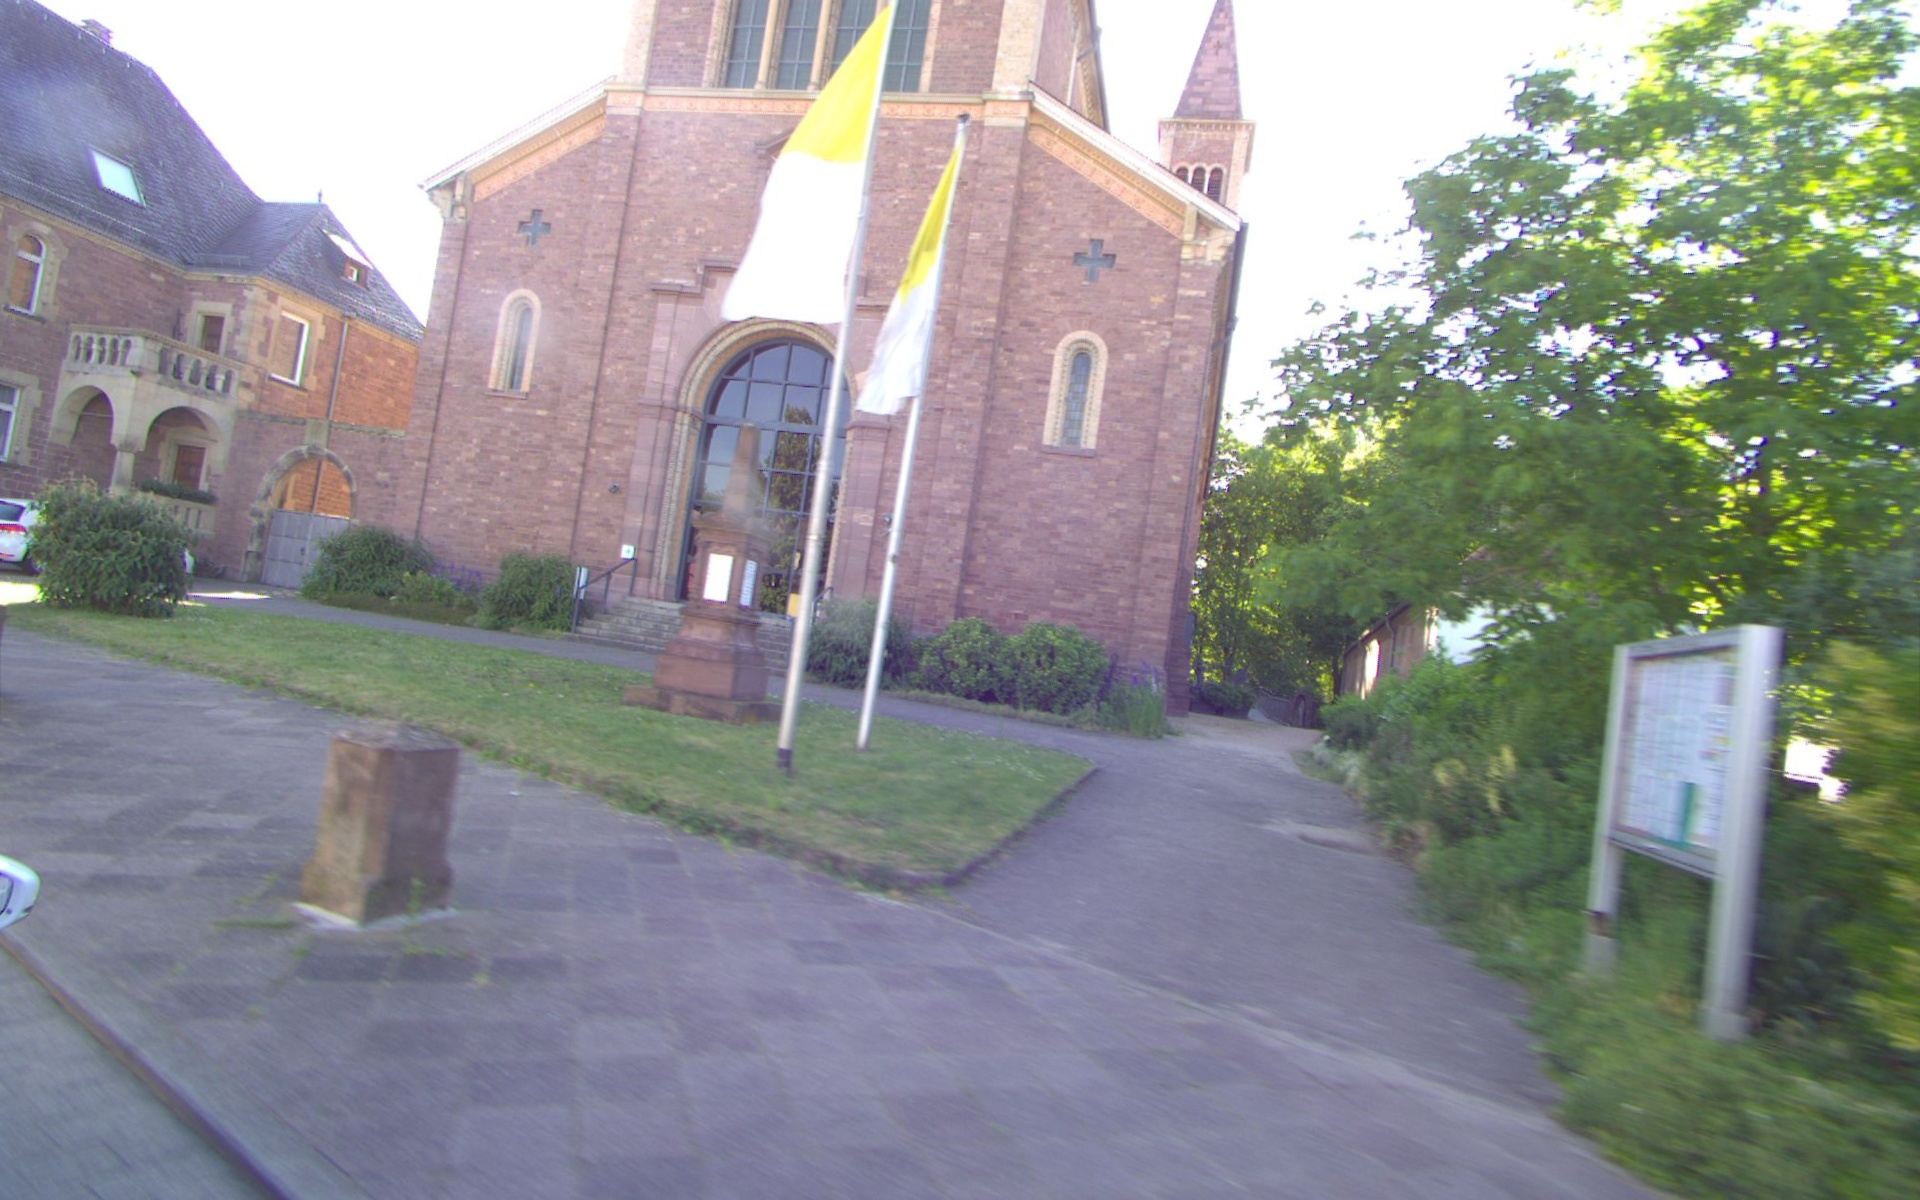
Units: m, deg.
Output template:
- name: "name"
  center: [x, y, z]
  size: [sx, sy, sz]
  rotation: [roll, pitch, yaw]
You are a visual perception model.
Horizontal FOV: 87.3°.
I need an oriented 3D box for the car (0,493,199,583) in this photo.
- name: "car"
  center: [-18.796, -1.298, 21.308]
  size: [1.868, 1.514, 3.913]
  rotation: [6, -1, 13]
